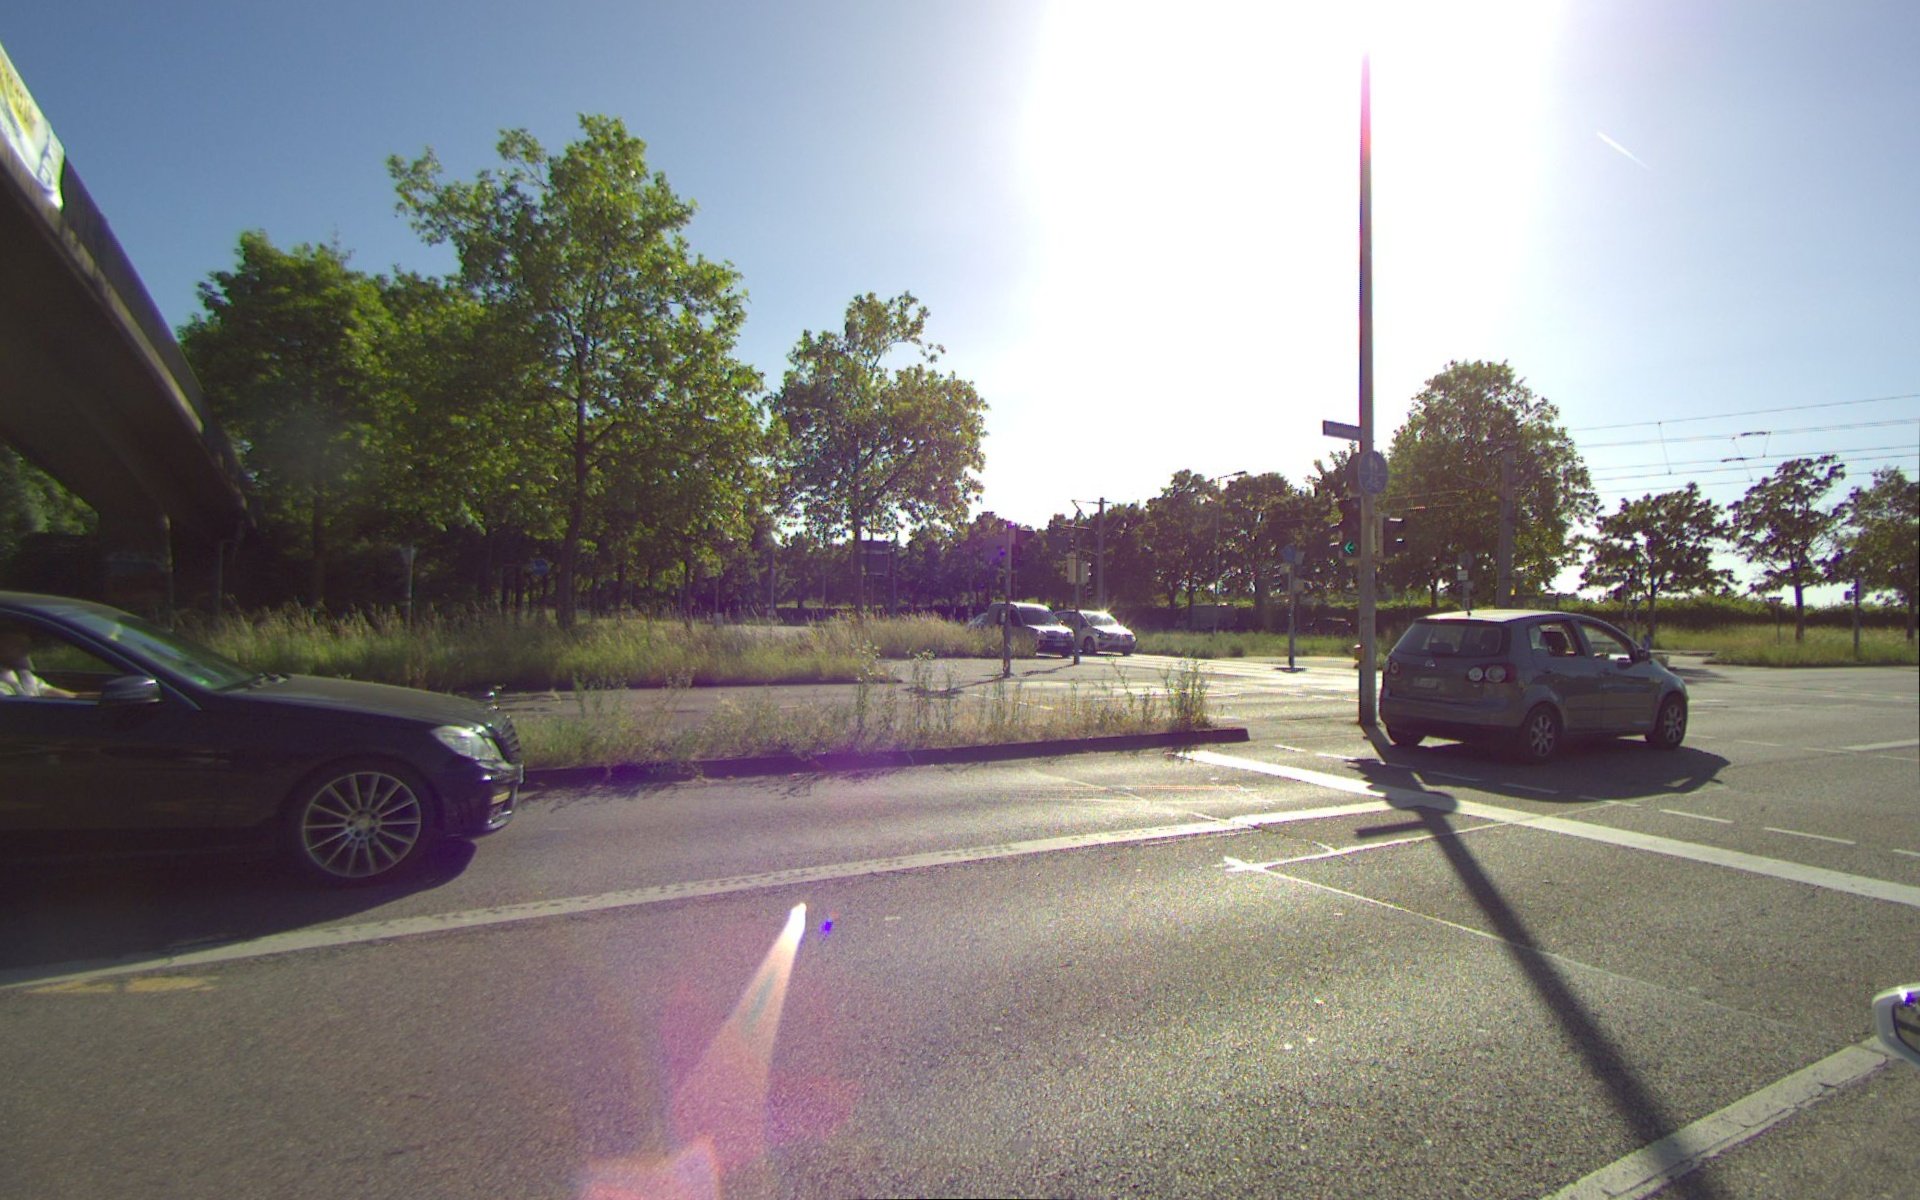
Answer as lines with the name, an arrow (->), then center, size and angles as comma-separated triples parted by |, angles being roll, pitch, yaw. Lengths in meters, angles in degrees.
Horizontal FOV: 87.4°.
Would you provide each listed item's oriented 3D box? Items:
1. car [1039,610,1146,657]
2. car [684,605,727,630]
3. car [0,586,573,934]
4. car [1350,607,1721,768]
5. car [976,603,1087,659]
car -> 4.756, 1.195, 36.634 | 1.832, 1.581, 3.892 | 1, -1, -31
car -> -17.067, 1.155, 67.230 | 1.830, 1.581, 3.895 | 2, -1, -29
car -> -4.493, 0.689, 5.168 | 4.475, 1.506, 1.766 | 1, 0, -29
car -> 6.791, 0.902, 11.765 | 4.333, 1.591, 1.833 | 1, -1, -29
car -> 2.354, 1.016, 34.064 | 1.758, 1.778, 3.966 | 1, -1, -31
